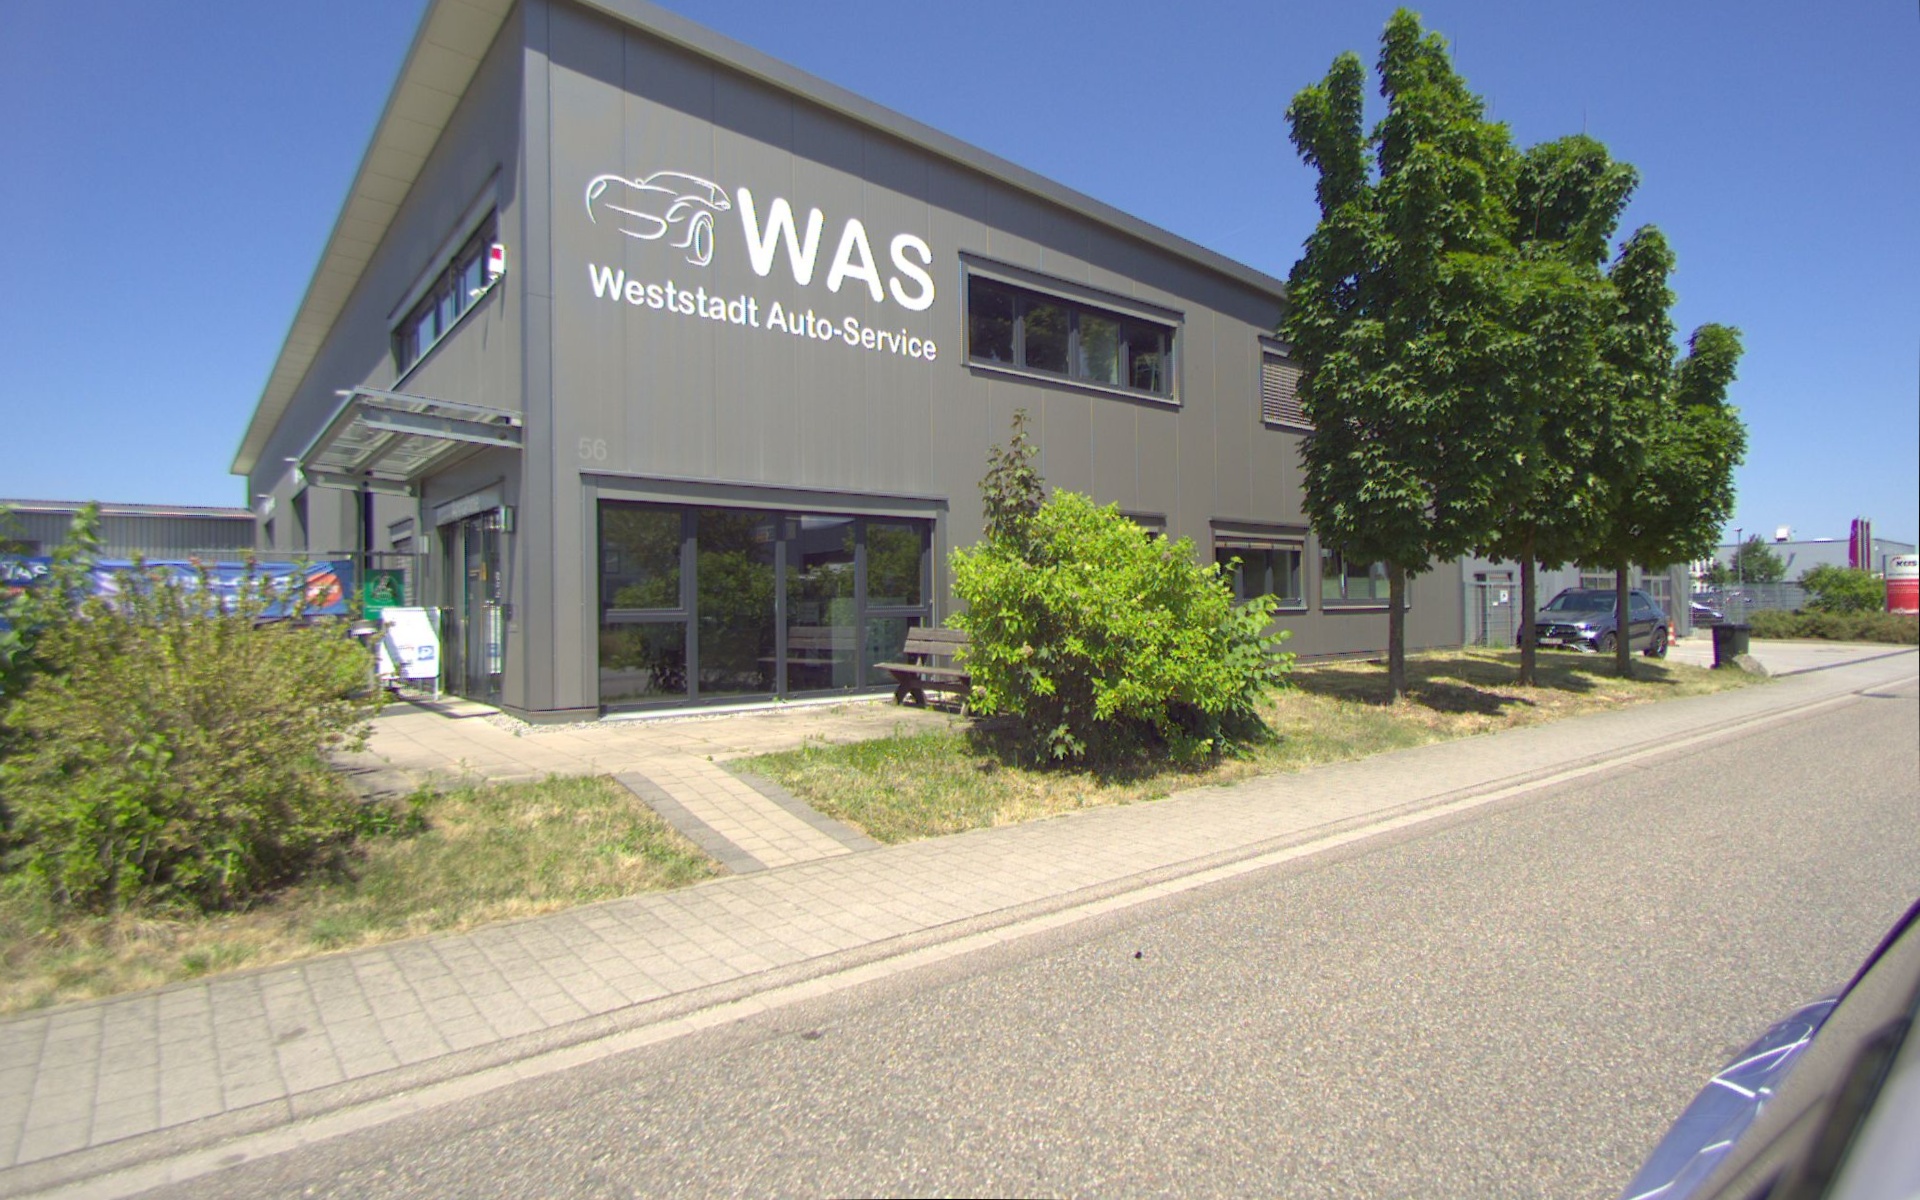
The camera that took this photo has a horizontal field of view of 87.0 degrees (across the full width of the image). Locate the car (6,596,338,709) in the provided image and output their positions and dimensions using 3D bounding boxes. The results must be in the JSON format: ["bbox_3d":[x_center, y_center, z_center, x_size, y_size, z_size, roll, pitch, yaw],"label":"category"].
[{"bbox_3d":[-10.862,0.646,14.193,3.505,1.321,1.589,-1,1,-38],"label":"car"}]

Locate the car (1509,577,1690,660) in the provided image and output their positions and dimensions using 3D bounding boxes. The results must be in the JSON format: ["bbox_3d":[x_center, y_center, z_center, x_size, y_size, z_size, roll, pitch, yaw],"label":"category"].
[{"bbox_3d":[15.639,0.373,24.657,4.823,1.833,2.158,-1,1,-37],"label":"car"}]

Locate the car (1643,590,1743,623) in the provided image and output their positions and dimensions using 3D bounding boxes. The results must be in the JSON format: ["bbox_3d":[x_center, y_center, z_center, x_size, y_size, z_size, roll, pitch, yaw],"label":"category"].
[{"bbox_3d":[33.057,0.322,45.664,1.763,1.387,3.352,0,-2,-43],"label":"car"}]

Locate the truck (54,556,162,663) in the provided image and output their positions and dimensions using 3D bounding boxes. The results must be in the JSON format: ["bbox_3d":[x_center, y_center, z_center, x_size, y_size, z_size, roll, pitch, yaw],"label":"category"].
[{"bbox_3d":[-28.735,0.365,34.342,2.314,3.285,6.268,-1,-1,-36],"label":"truck"}]

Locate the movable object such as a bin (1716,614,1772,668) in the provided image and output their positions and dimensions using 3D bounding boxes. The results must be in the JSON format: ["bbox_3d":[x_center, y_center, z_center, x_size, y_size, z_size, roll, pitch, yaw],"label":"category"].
[{"bbox_3d":[16.032,0.818,20.703,0.793,1.059,0.618,-1,0,-27],"label":"movable object such as a bin"}]
